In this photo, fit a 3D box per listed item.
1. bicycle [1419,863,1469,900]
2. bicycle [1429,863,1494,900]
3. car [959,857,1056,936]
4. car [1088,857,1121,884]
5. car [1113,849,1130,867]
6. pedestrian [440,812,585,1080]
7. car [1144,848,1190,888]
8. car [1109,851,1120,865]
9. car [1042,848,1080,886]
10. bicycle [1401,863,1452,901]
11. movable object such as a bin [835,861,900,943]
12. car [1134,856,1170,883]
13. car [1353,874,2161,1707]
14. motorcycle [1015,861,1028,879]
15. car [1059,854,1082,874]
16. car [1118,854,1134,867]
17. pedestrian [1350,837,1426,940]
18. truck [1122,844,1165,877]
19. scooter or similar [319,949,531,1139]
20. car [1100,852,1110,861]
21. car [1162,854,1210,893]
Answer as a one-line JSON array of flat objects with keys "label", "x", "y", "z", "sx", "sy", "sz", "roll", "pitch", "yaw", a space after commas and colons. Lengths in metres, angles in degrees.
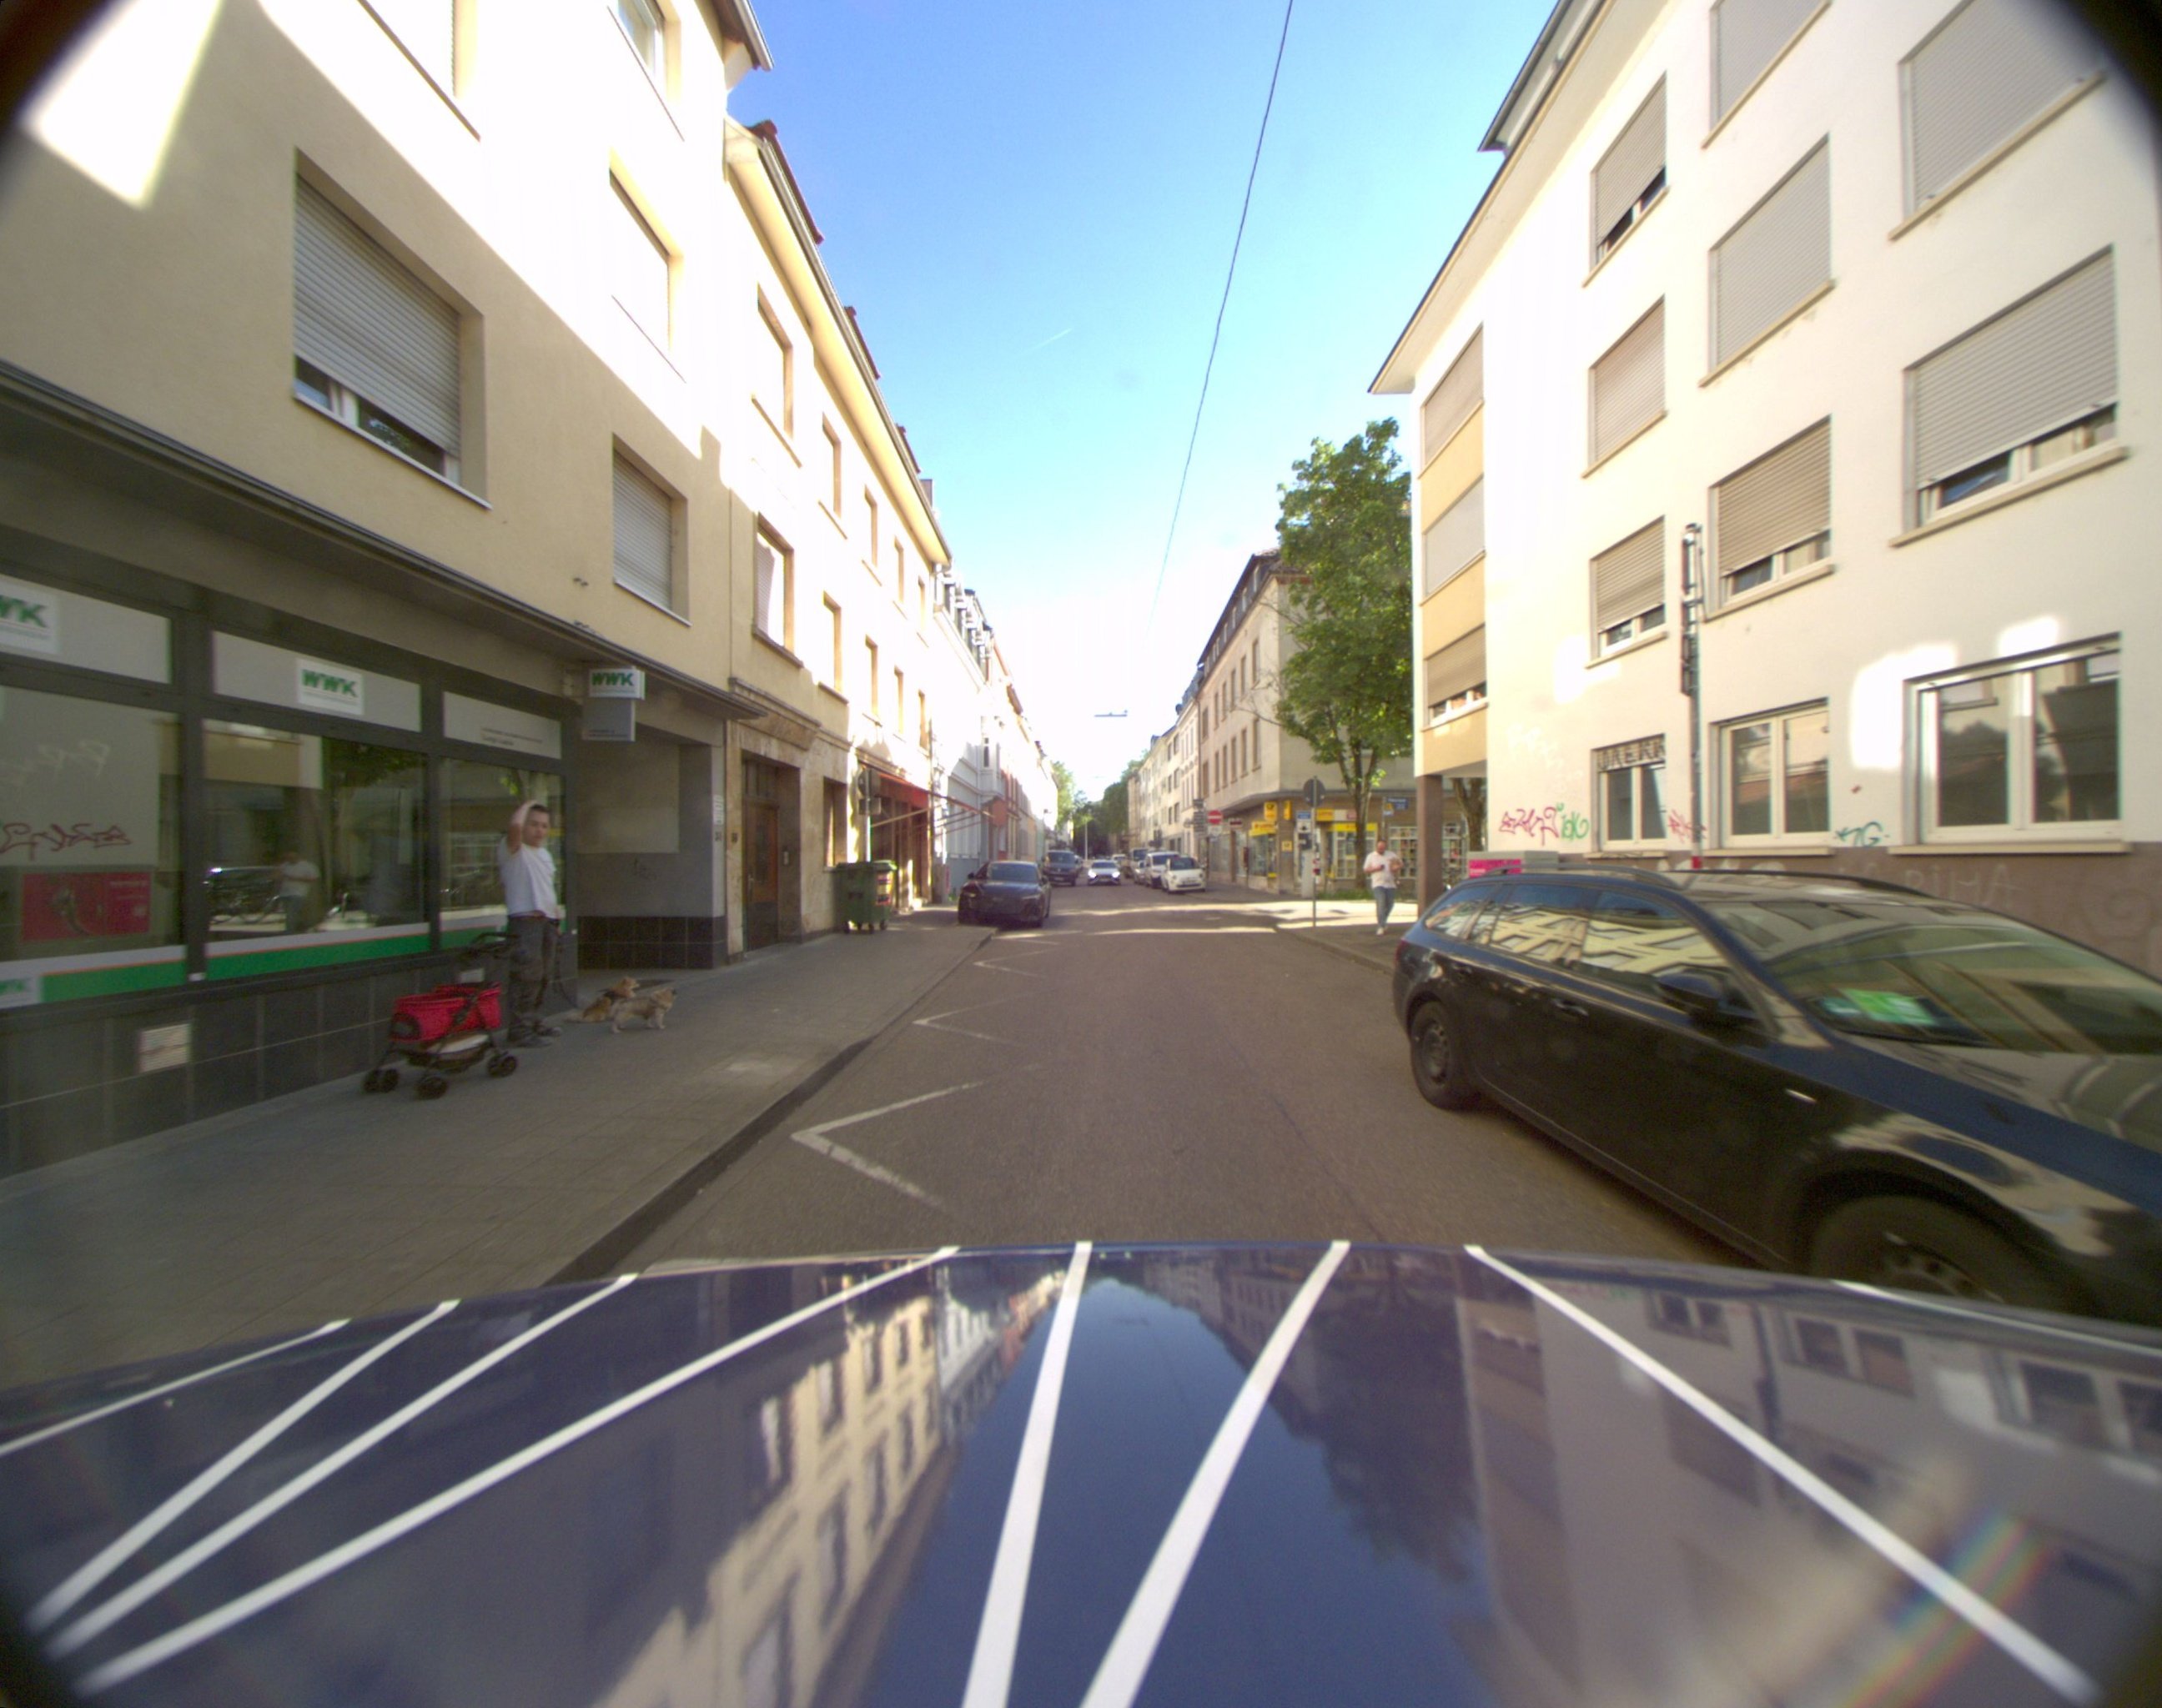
[{"label": "bicycle", "x": 12.045, "y": 0.893, "z": 25.294, "sx": 0.523, "sy": 1.111, "sz": 2.403, "roll": 0, "pitch": 1, "yaw": 1}, {"label": "bicycle", "x": 12.644, "y": 0.885, "z": 25.348, "sx": 0.709, "sy": 1.120, "sz": 2.428, "roll": 0, "pitch": 1, "yaw": -7}, {"label": "car", "x": -1.629, "y": 0.908, "z": 18.464, "sx": 1.805, "sy": 1.570, "sz": 4.897, "roll": -1, "pitch": 0, "yaw": 1}, {"label": "car", "x": 1.314, "y": 0.902, "z": 42.978, "sx": 1.761, "sy": 1.399, "sz": 4.021, "roll": 0, "pitch": 1, "yaw": 1}, {"label": "car", "x": 5.028, "y": 0.462, "z": 94.136, "sx": 1.913, "sy": 2.076, "sz": 4.696, "roll": 0, "pitch": 0, "yaw": 1}, {"label": "pedestrian", "x": -4.221, "y": 0.643, "z": 5.699, "sx": 0.651, "sy": 1.849, "sz": 0.747, "roll": 2, "pitch": 0, "yaw": -21}, {"label": "car", "x": 4.327, "y": 0.665, "z": 38.877, "sx": 1.771, "sy": 1.887, "sz": 4.808, "roll": 1, "pitch": 0, "yaw": -1}, {"label": "car", "x": 4.963, "y": 0.554, "z": 113.835, "sx": 1.585, "sy": 1.971, "sz": 4.068, "roll": 0, "pitch": 1, "yaw": 1}, {"label": "car", "x": -1.083, "y": 0.693, "z": 43.413, "sx": 1.975, "sy": 2.017, "sz": 4.899, "roll": -2, "pitch": 0, "yaw": 0}, {"label": "bicycle", "x": 11.371, "y": 0.903, "z": 25.089, "sx": 0.709, "sy": 1.136, "sz": 2.307, "roll": 0, "pitch": 1, "yaw": 2}, {"label": "movable object such as a bin", "x": -3.985, "y": 0.862, "z": 14.285, "sx": 0.748, "sy": 1.428, "sz": 1.372, "roll": 2, "pitch": 1, "yaw": 3}, {"label": "car", "x": 4.149, "y": 0.882, "z": 44.883, "sx": 1.669, "sy": 1.514, "sz": 4.488, "roll": 1, "pitch": 0, "yaw": 0}, {"label": "car", "x": 2.918, "y": 0.930, "z": 3.267, "sx": 1.718, "sy": 1.480, "sz": 4.851, "roll": 2, "pitch": 0, "yaw": 0}, {"label": "motorcycle", "x": -3.607, "y": 0.959, "z": 46.489, "sx": 0.638, "sy": 1.038, "sz": 2.363, "roll": 0, "pitch": 1, "yaw": -1}, {"label": "car", "x": -0.800, "y": 0.774, "z": 61.084, "sx": 1.744, "sy": 1.534, "sz": 4.050, "roll": 0, "pitch": 1, "yaw": 1}, {"label": "car", "x": 5.145, "y": 0.750, "z": 87.631, "sx": 1.730, "sy": 1.483, "sz": 4.115, "roll": -2, "pitch": 0, "yaw": 2}, {"label": "pedestrian", "x": 5.673, "y": 0.611, "z": 14.108, "sx": 0.913, "sy": 1.822, "sz": 1.245, "roll": 0, "pitch": 1, "yaw": 1}, {"label": "truck", "x": 4.541, "y": 0.393, "z": 56.242, "sx": 2.171, "sy": 2.295, "sz": 6.344, "roll": 1, "pitch": 1, "yaw": -5}, {"label": "scooter or similar", "x": -3.973, "y": 1.108, "z": 4.665, "sx": 0.491, "sy": 0.939, "sz": 0.869, "roll": 1, "pitch": 0, "yaw": 7}, {"label": "car", "x": 4.551, "y": 0.476, "z": 143.486, "sx": 1.786, "sy": 1.674, "sz": 4.021, "roll": 0, "pitch": 1, "yaw": 1}, {"label": "car", "x": 4.453, "y": 0.804, "z": 32.659, "sx": 1.671, "sy": 1.551, "sz": 3.722, "roll": 0, "pitch": 0, "yaw": 2}]
